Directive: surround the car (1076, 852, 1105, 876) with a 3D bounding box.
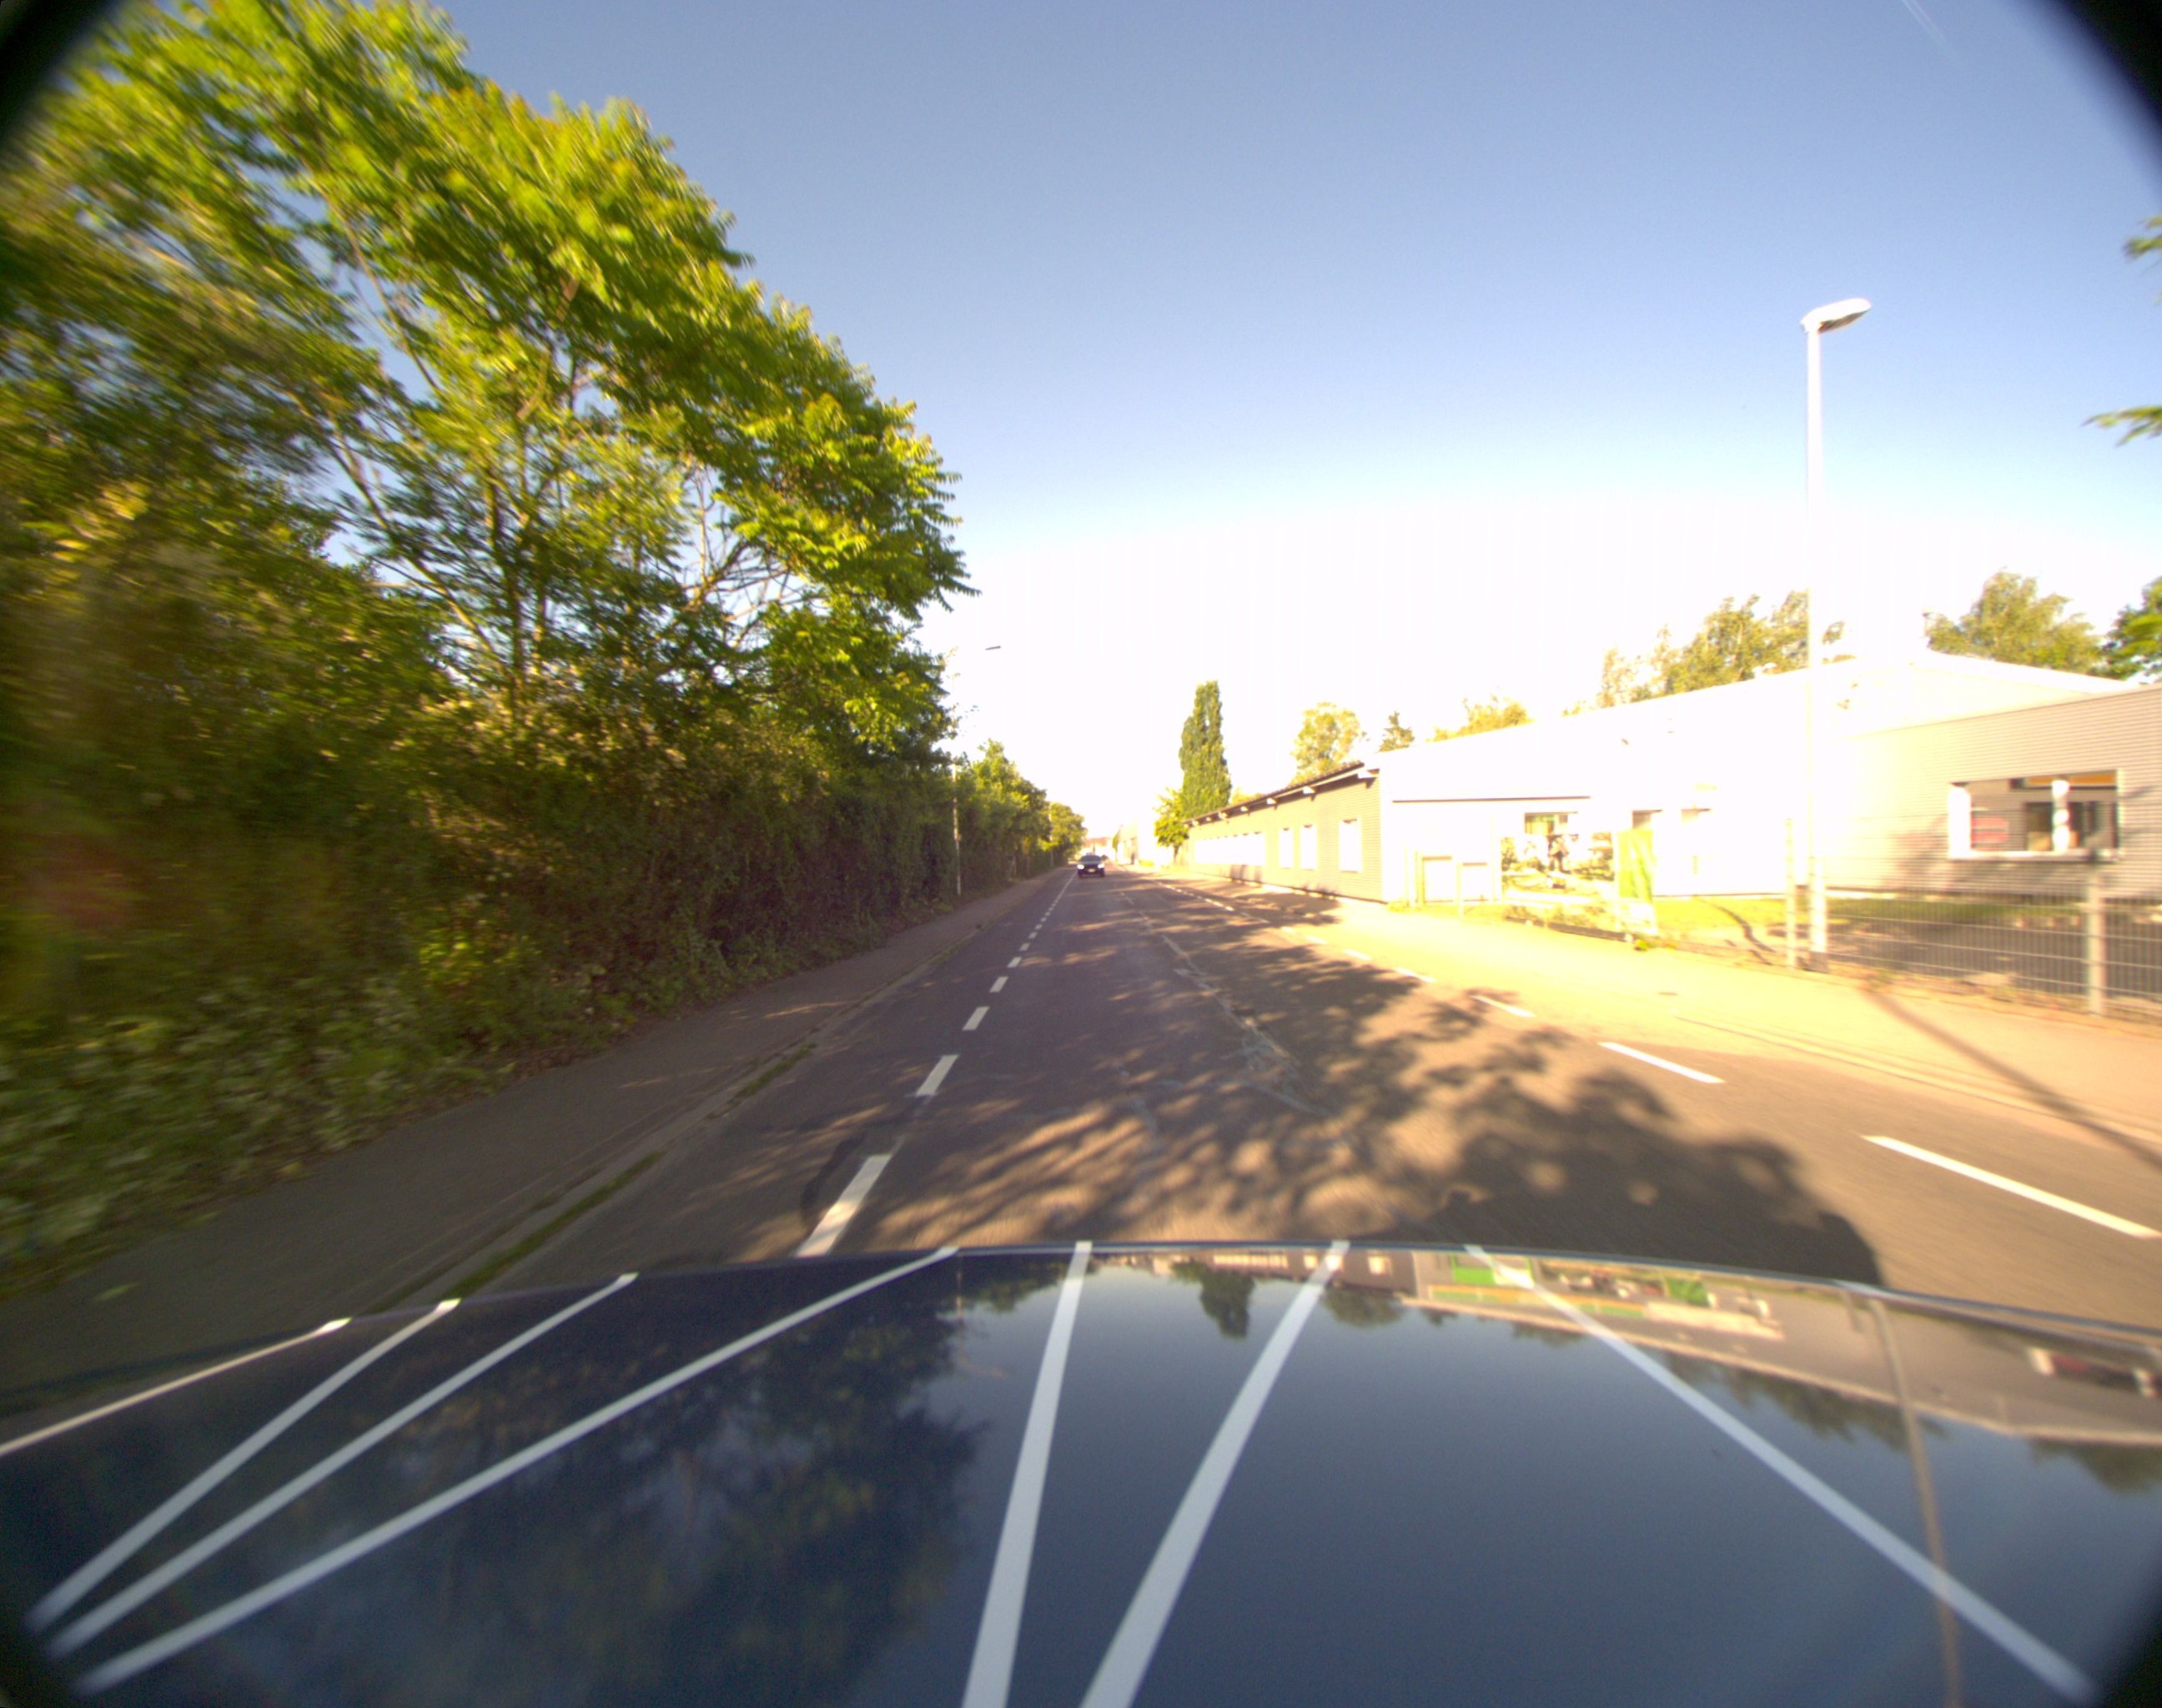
[{"bbox_3d":[0.674,0.714,56.071,1.998,1.608,3.999,-2,0,0],"label":"car"}]
